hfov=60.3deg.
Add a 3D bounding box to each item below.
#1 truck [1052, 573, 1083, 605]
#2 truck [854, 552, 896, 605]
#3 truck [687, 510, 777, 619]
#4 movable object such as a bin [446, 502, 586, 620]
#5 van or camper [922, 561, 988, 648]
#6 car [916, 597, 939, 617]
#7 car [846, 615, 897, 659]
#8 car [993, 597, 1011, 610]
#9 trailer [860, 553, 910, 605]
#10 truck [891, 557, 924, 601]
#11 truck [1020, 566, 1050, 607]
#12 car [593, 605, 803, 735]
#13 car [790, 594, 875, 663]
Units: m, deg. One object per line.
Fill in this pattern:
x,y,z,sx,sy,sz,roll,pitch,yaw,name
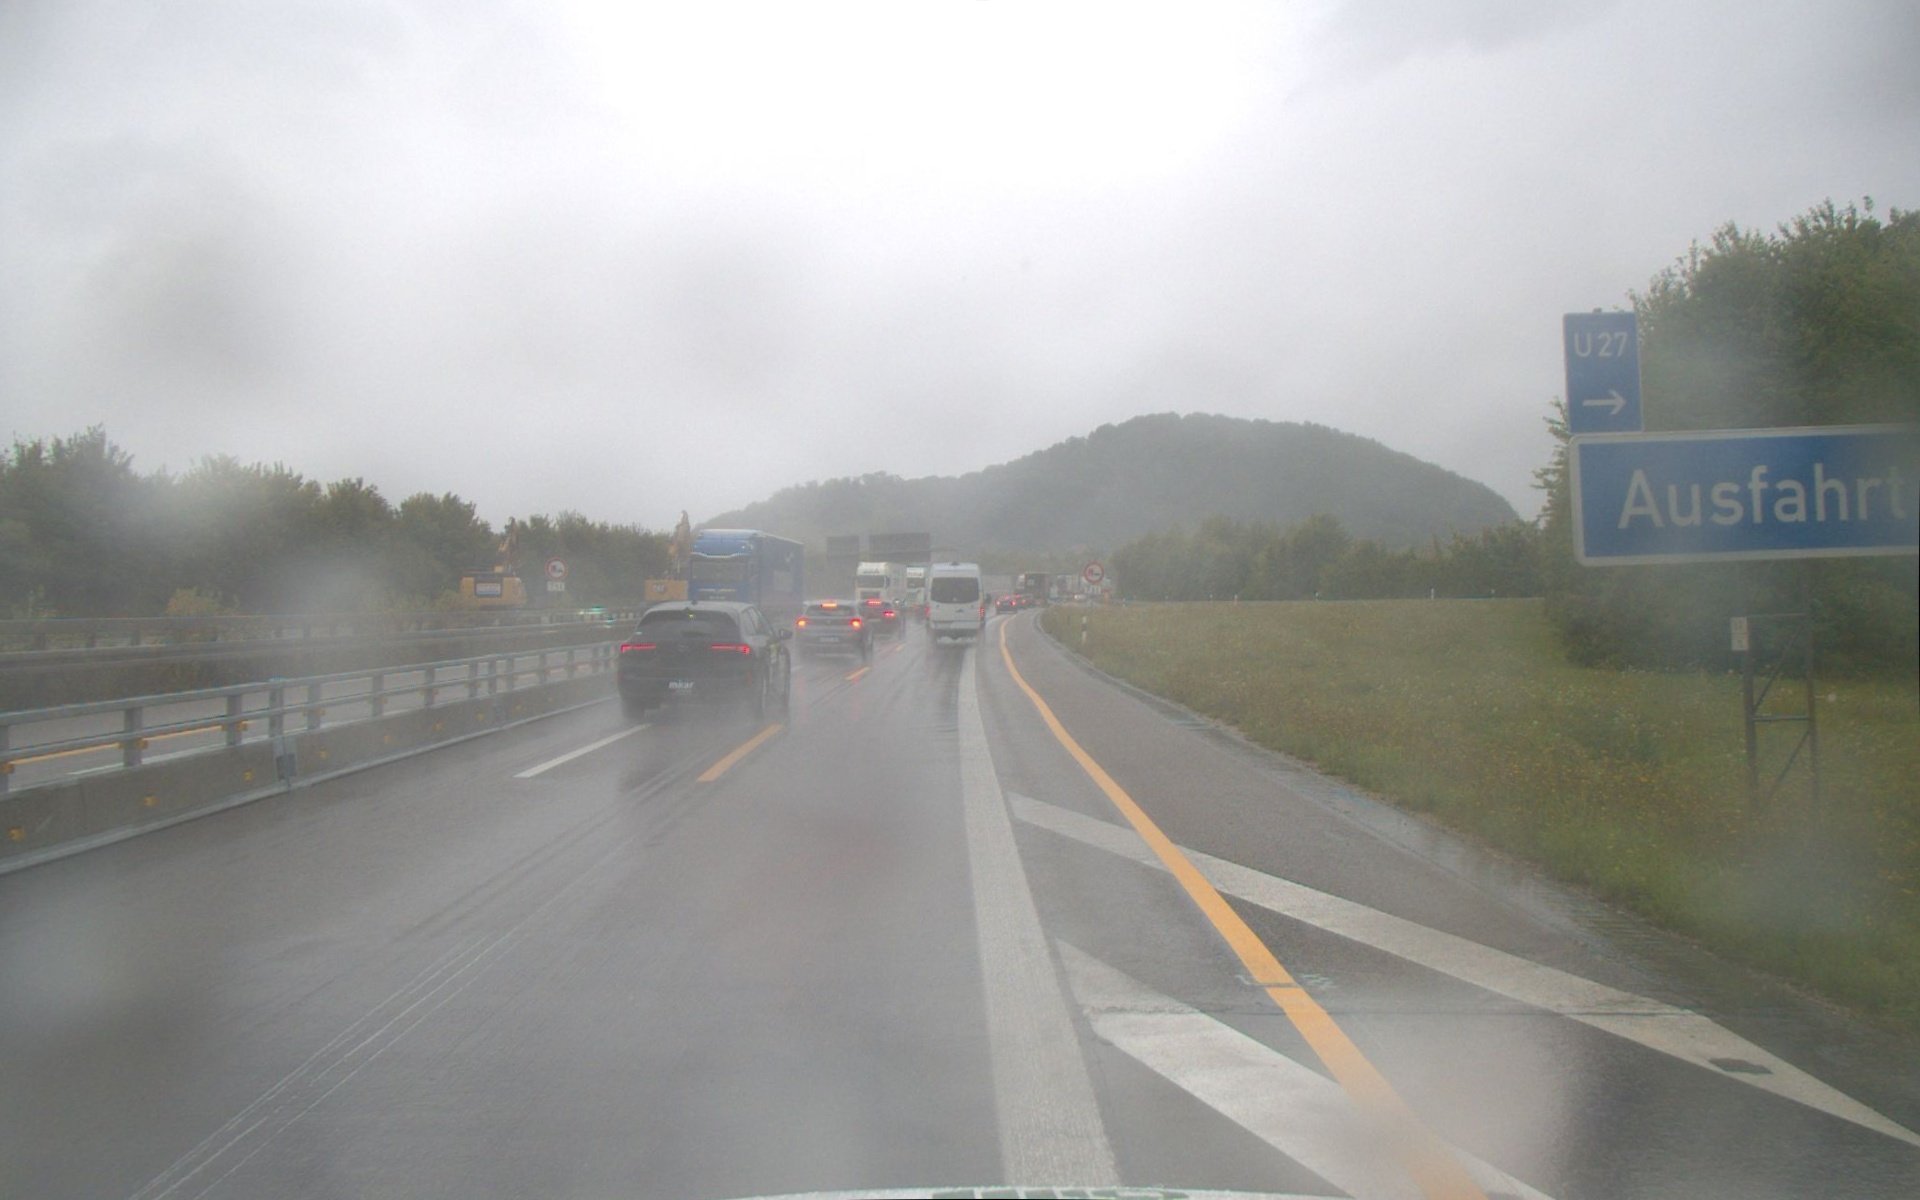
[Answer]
17.269,-1.701,264.827,3.844,4.868,9.915,1,0,9,truck
-6.661,-1.706,130.641,2.431,4.101,6.452,0,1,5,truck
-9.116,-1.391,66.782,2.569,4.153,6.670,0,0,1,truck
-24.176,-2.010,90.871,4.084,6.018,11.049,1,0,3,movable object such as a bin
-0.214,0.134,54.817,2.096,2.769,4.646,0,0,-2,van or camper
-1.831,0.377,93.706,1.237,1.097,3.254,0,0,0,car
-3.278,1.366,62.195,1.815,1.527,3.999,0,0,-2,car
3.557,0.307,139.399,1.356,1.097,3.121,0,0,-2,car
-6.087,-1.765,136.691,2.441,4.120,12.596,-1,1,5,trailer
-5.103,-2.075,161.704,2.824,4.173,6.928,0,1,2,truck
9.400,-1.631,206.094,3.250,4.868,9.912,1,0,5,truck
-3.225,0.809,21.282,1.899,1.452,4.760,1,0,0,car
-3.206,0.695,42.365,1.829,1.688,3.988,0,0,0,car
